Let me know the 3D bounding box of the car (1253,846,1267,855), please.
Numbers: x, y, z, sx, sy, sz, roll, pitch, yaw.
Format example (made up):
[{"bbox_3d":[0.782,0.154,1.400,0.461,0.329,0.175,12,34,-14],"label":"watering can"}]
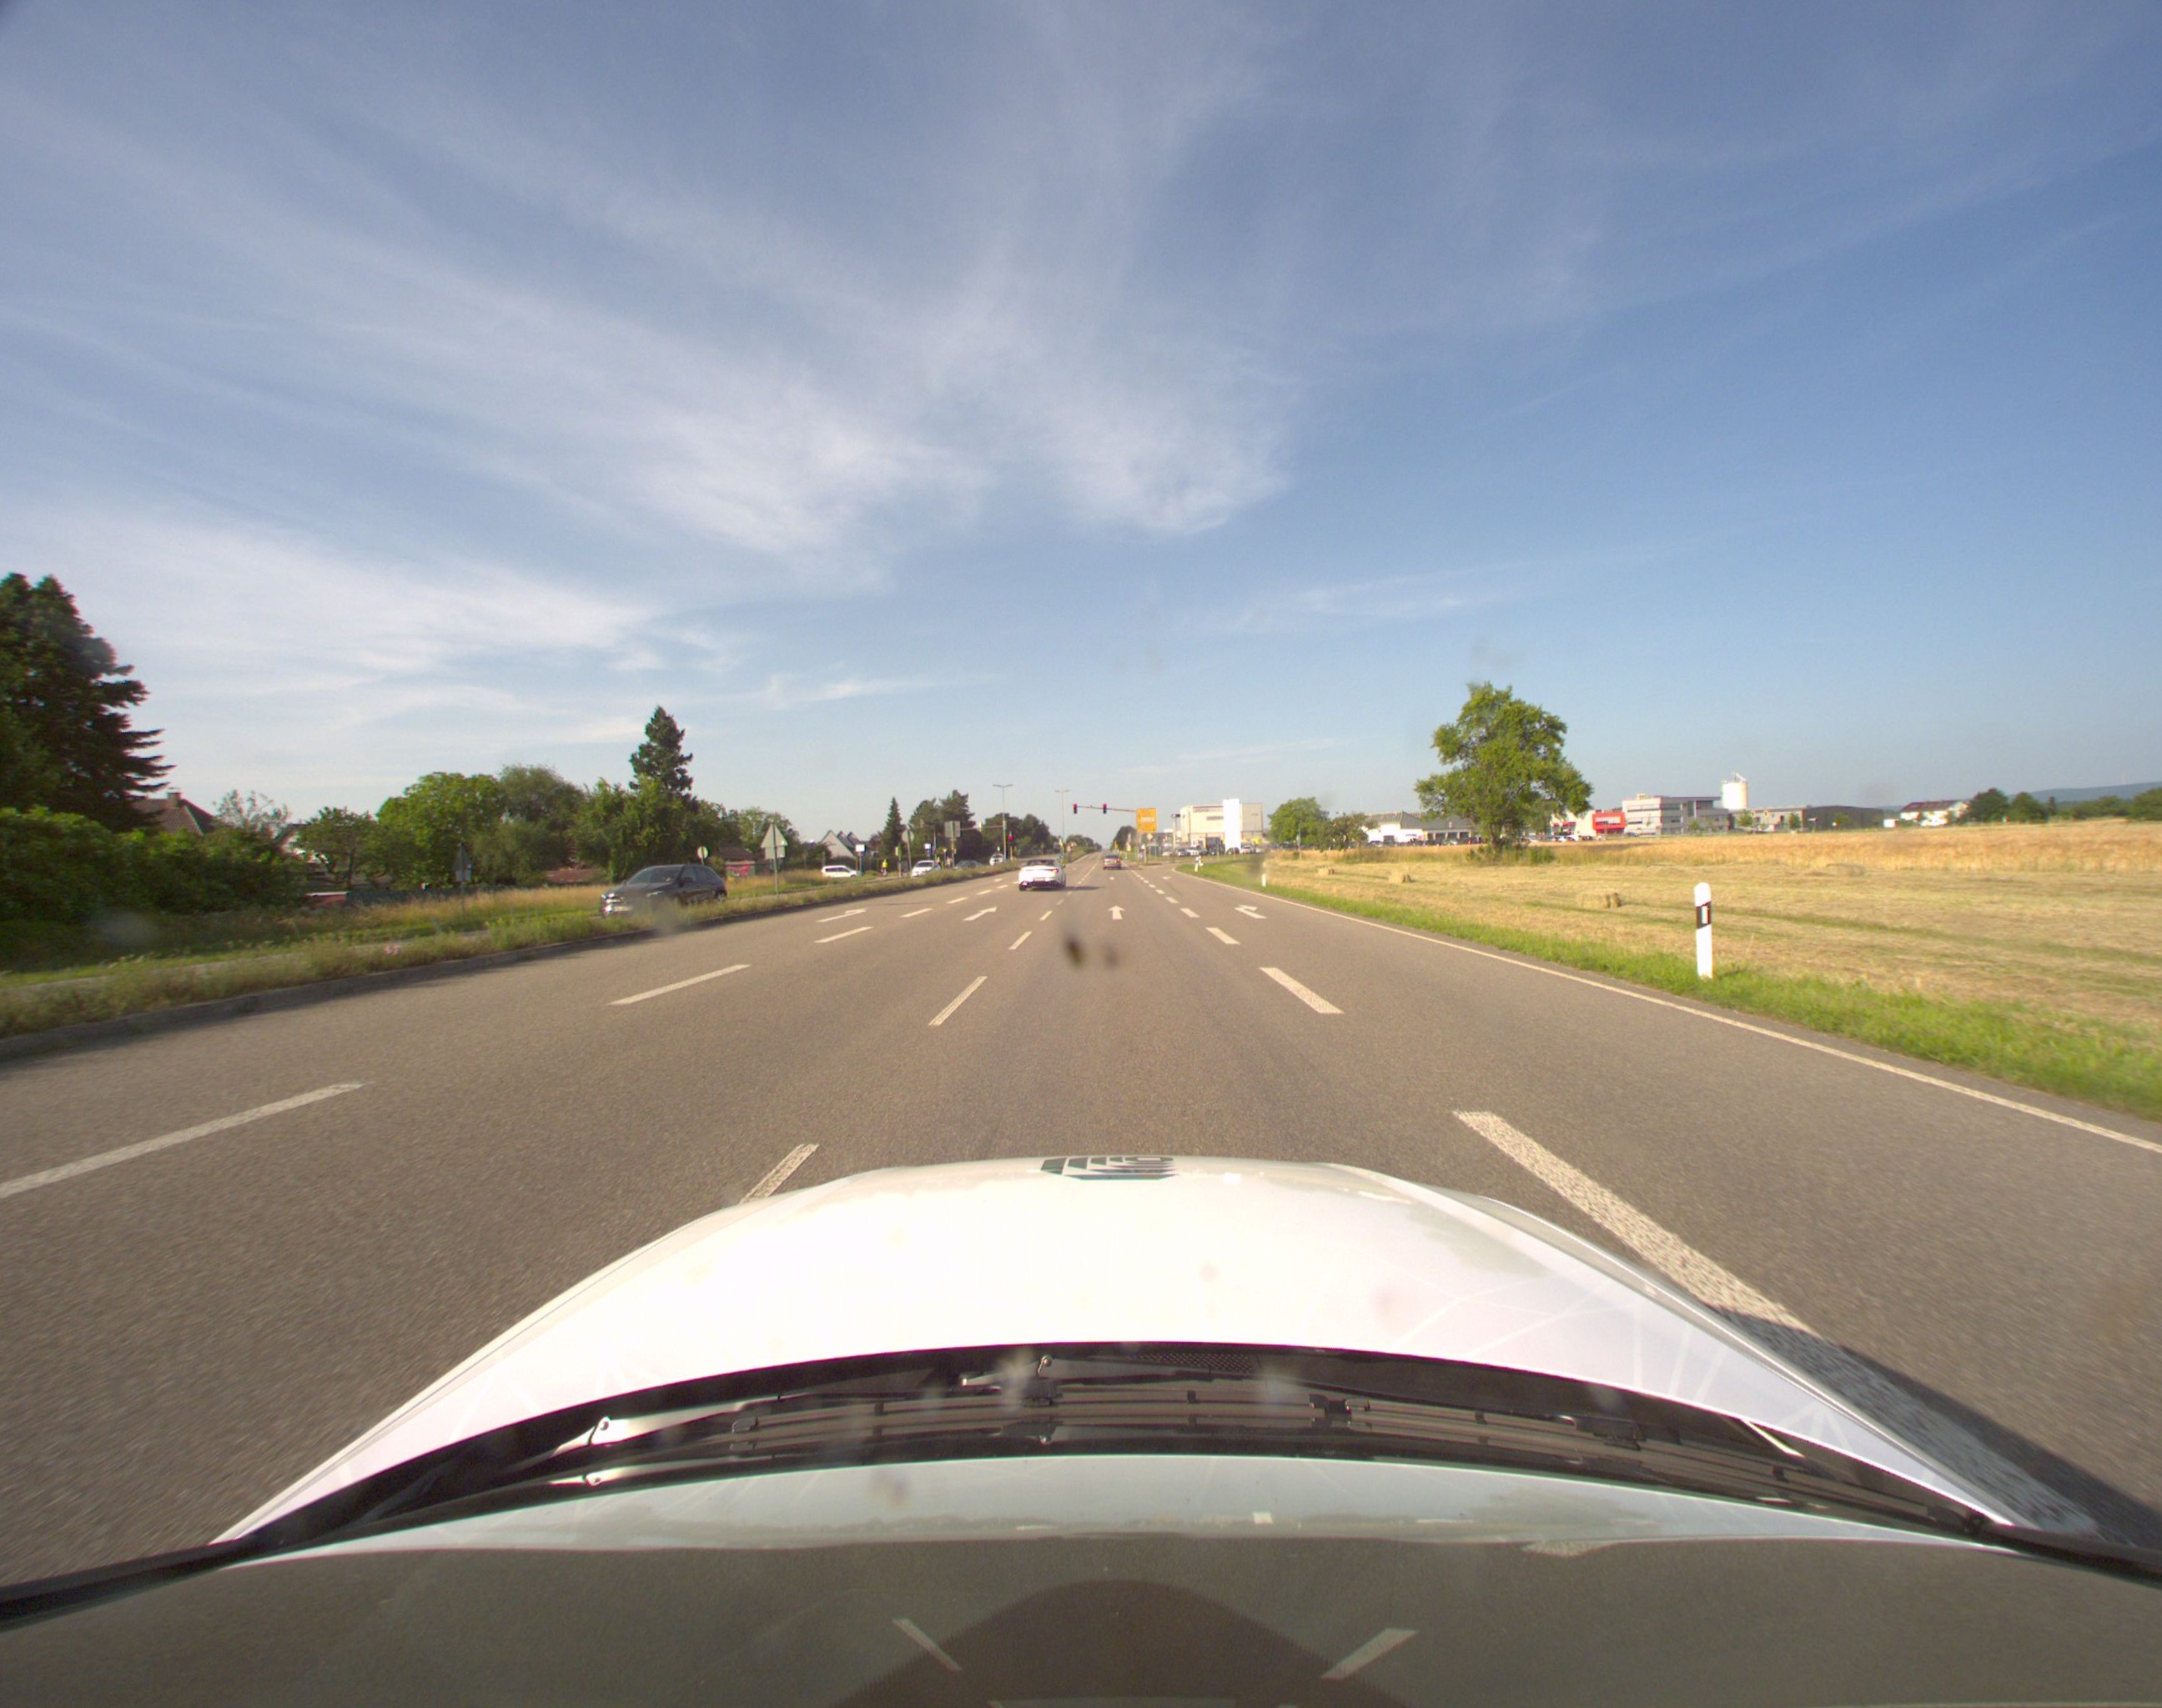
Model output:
[{"bbox_3d":[32.025,-0.625,145.797,1.985,1.398,4.003,-1,0,3],"label":"car"}]

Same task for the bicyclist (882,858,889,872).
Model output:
[{"bbox_3d":[-19.618,1.067,81.678,0.454,1.352,0.552,-2,0,-2],"label":"bicyclist"}]

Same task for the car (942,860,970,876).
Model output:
[{"bbox_3d":[-12.161,1.356,79.549,1.986,1.486,4.001,-1,0,1],"label":"car"}]

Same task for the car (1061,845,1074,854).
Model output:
[{"bbox_3d":[-2.214,-0.748,136.458,1.940,1.408,4.003,-1,0,3],"label":"car"}]

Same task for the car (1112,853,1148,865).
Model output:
[{"bbox_3d":[5.983,0.598,100.284,3.998,1.408,1.942,-1,0,-18],"label":"car"}]

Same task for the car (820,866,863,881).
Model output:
[{"bbox_3d":[-26.399,2.172,89.852,4.179,1.522,1.995,-1,0,-7],"label":"car"}]

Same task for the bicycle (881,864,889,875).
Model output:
[{"bbox_3d":[-19.613,1.550,81.648,0.406,1.015,1.603,-2,0,-1],"label":"bicycle"}]

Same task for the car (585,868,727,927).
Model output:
[{"bbox_3d":[-11.762,1.141,22.884,1.722,1.408,4.003,-1,0,3],"label":"car"}]

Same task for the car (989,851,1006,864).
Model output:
[{"bbox_3d":[-12.158,0.538,118.921,1.940,1.800,4.003,-1,0,3],"label":"car"}]

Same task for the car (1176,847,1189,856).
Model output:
[{"bbox_3d":[18.115,-0.408,145.560,1.985,1.618,4.003,-1,0,3],"label":"car"}]

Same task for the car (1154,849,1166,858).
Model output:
[{"bbox_3d":[14.076,-0.040,145.640,1.985,1.596,4.003,-1,0,3],"label":"car"}]

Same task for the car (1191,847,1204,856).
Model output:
[{"bbox_3d":[20.788,-0.447,145.080,1.985,1.644,4.003,-1,0,3],"label":"car"}]

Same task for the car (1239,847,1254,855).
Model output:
[{"bbox_3d":[29.518,-0.567,145.450,1.985,1.442,4.003,-1,0,3],"label":"car"}]

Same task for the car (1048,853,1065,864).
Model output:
[{"bbox_3d":[-3.322,0.608,111.770,1.940,1.408,4.003,-1,0,3],"label":"car"}]

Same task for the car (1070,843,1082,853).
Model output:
[{"bbox_3d":[-0.930,-1.135,150.647,1.940,1.772,4.003,-1,0,3],"label":"car"}]

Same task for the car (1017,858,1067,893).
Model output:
[{"bbox_3d":[-1.670,0.912,36.226,1.903,1.422,4.001,-1,0,1],"label":"car"}]

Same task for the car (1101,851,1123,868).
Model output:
[{"bbox_3d":[2.920,0.515,76.593,1.986,1.486,4.001,-1,0,1],"label":"car"}]

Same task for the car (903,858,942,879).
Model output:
[{"bbox_3d":[-11.582,1.055,59.904,1.986,1.398,4.001,-1,0,1],"label":"car"}]
